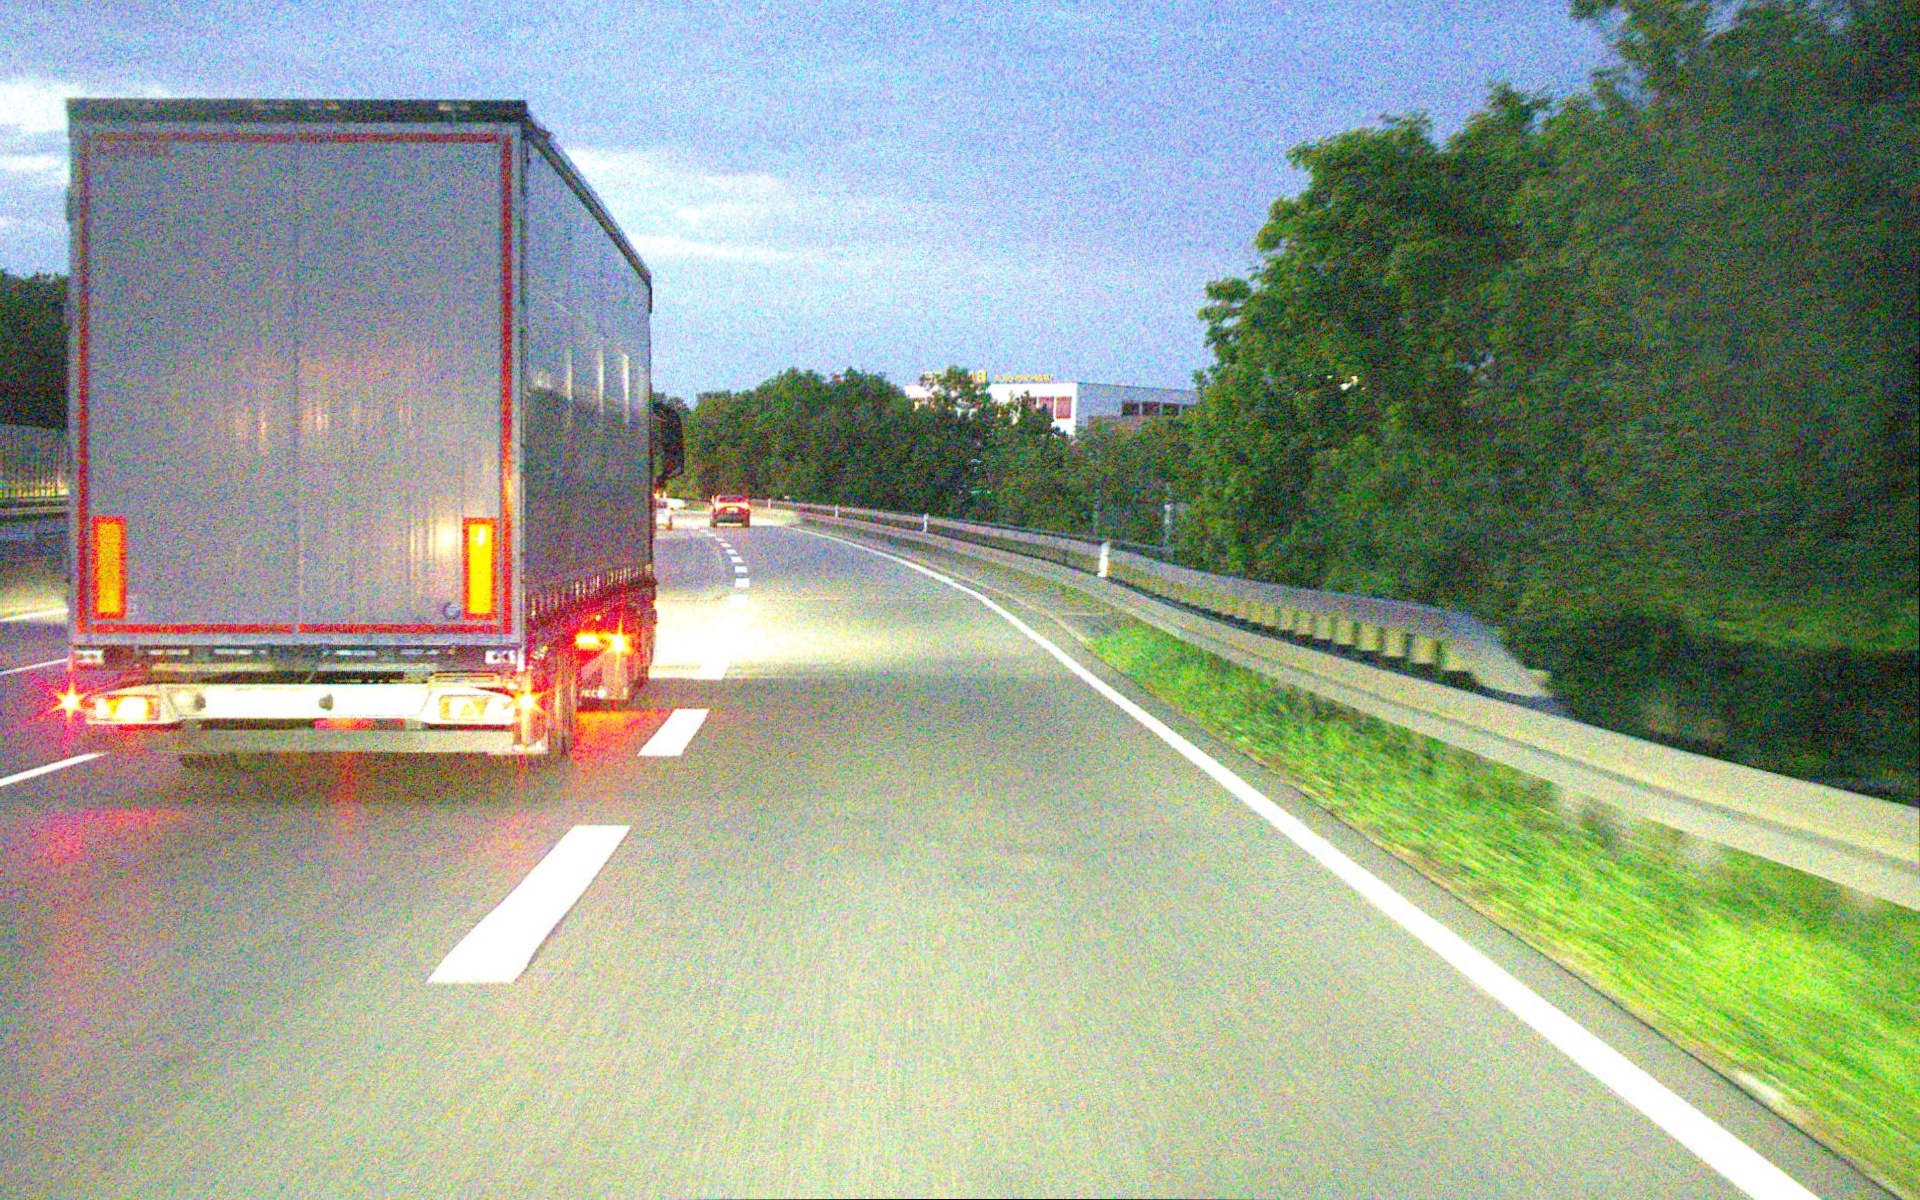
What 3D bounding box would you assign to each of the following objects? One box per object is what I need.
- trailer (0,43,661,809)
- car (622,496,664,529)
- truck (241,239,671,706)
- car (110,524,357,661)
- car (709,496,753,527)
[{"bbox_3d":[-4.307,-1.049,26.034,3.550,4.102,15.065,0,1,-3],"label":"trailer"},{"bbox_3d":[-14.996,-4.141,162.405,1.884,1.349,4.000,1,-1,-6],"label":"car"},{"bbox_3d":[-4.670,-1.162,33.223,3.550,4.077,6.152,0,1,-3],"label":"truck"},{"bbox_3d":[-9.144,-0.054,43.677,1.906,1.609,4.803,1,-1,2],"label":"car"},{"bbox_3d":[-11.478,-4.431,172.039,1.993,1.349,4.000,1,-1,-6],"label":"car"}]
